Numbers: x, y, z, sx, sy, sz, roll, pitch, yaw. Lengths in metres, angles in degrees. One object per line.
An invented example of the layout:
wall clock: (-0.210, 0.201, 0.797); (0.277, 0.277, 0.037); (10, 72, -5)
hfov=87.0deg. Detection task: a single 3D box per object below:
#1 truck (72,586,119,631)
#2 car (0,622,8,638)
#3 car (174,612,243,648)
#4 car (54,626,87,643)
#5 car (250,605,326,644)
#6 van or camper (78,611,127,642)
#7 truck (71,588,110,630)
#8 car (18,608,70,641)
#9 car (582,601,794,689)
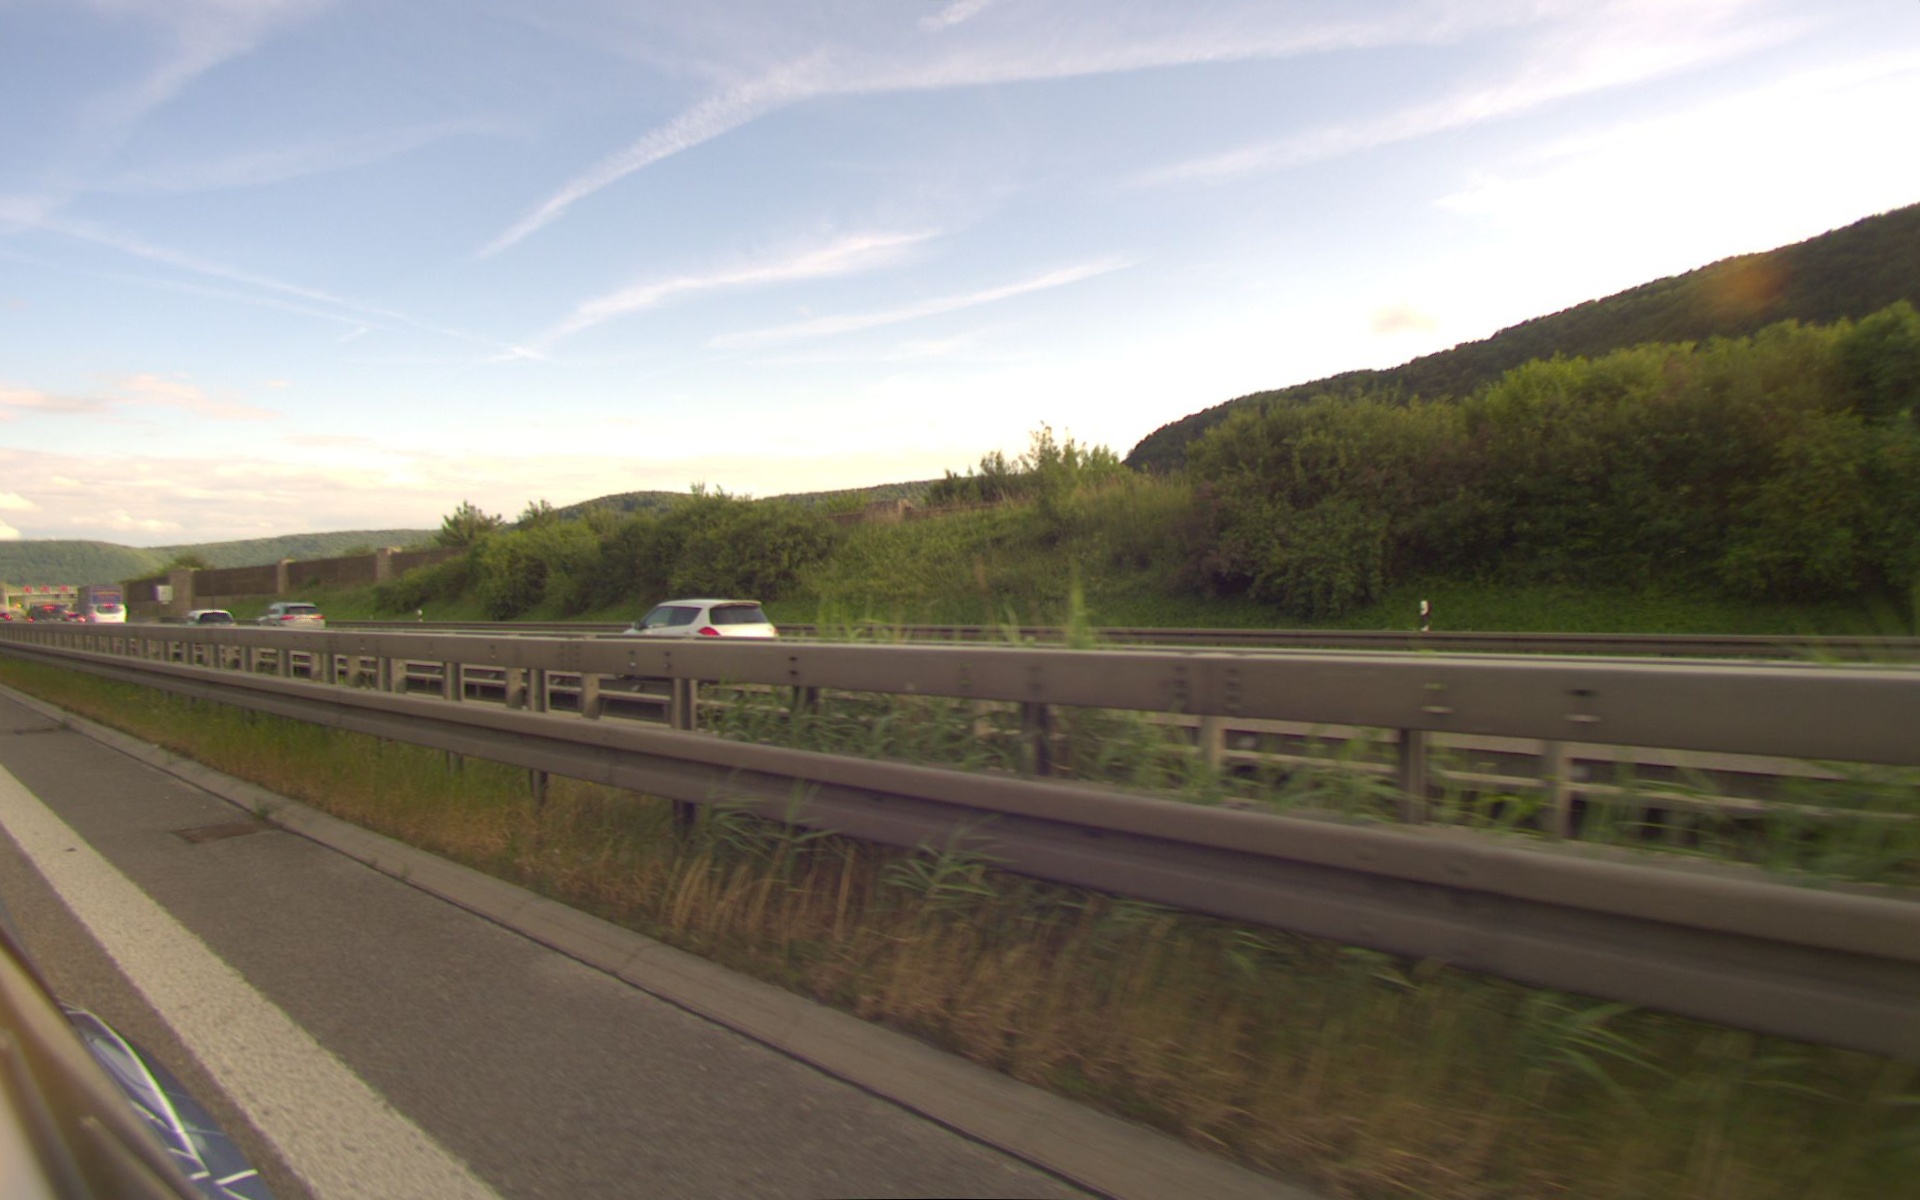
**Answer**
truck: (-88.003, 0.906, 102.927); (2.619, 4.311, 14.687); (0, -1, -44)
car: (-92.018, 2.859, 96.436); (3.999, 1.470, 1.666); (-1, -1, 42)
car: (-32.924, 1.282, 44.295); (4.344, 1.446, 1.626); (-1, 0, 42)
car: (-74.606, 2.872, 84.894); (3.999, 1.407, 1.666); (-1, -1, 42)
car: (-32.134, 1.151, 48.335); (4.878, 1.735, 1.909); (-1, -1, 42)
van or camper: (-57.475, 1.759, 67.820); (5.400, 1.954, 1.828); (-1, -1, 42)
truck: (-91.902, 0.953, 106.918); (2.620, 4.292, 8.172); (0, -1, -45)
car: (-54.427, 1.435, 60.111); (4.344, 1.906, 1.909); (-1, -1, 42)
car: (-5.122, 0.767, 18.730); (4.342, 1.446, 1.626); (-1, 0, 41)
